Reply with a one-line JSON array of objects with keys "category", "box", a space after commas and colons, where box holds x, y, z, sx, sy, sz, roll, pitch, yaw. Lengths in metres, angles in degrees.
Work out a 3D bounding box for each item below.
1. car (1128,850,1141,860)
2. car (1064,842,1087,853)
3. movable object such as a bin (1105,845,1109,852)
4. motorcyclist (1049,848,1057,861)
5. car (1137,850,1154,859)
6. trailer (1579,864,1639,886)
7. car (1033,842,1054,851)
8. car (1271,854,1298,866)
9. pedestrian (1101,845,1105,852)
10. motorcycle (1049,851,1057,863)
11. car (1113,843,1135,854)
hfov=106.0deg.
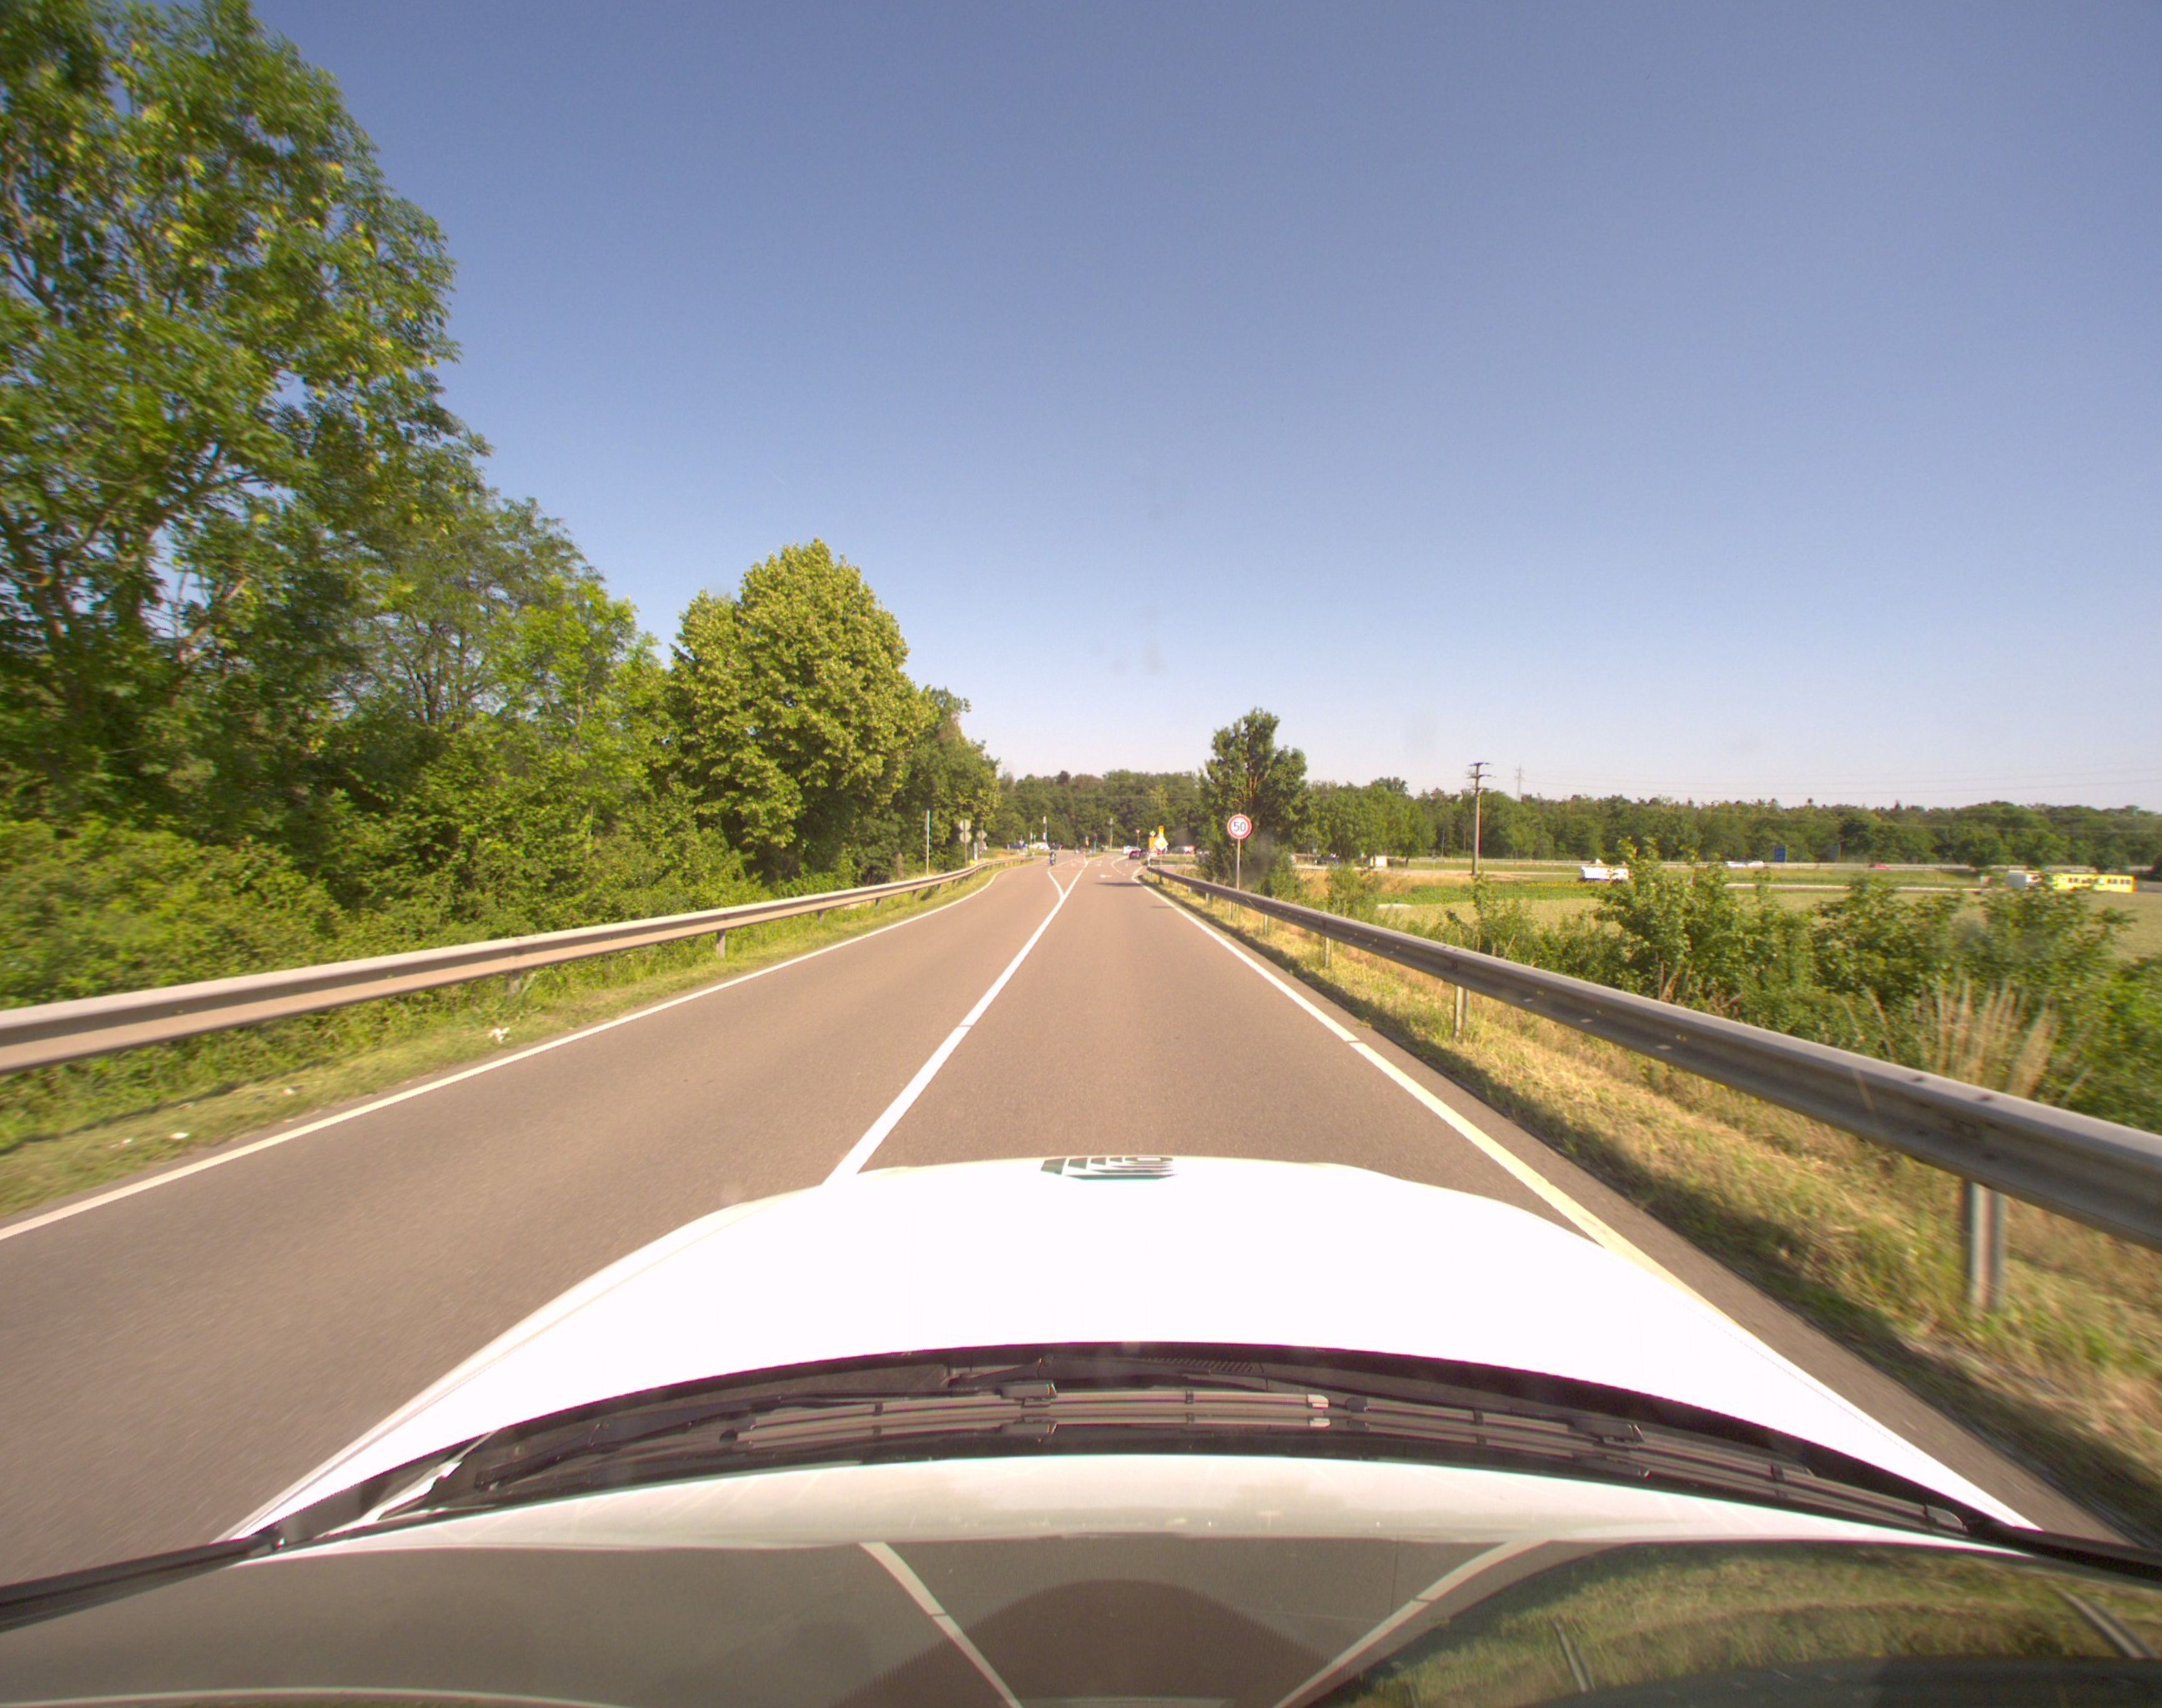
[{"category": "car", "box": [8.447, 0.171, 128.549, 1.789, 1.398, 4.009, -3, 0, 7]}, {"category": "car", "box": [-1.018, -1.237, 150.601, 3.983, 2.013, 1.797, 0, 1, -7]}, {"category": "movable object such as a bin", "box": [5.337, -1.140, 167.330, 0.598, 1.488, 0.734, -1, 0, 9]}, {"category": "motorcyclist", "box": [-2.993, 0.085, 87.160, 0.696, 1.408, 0.785, -1, 0, 2]}, {"category": "car", "box": [10.827, 0.025, 136.056, 1.785, 1.501, 4.019, 2, 1, 19]}, {"category": "trailer", "box": [76.313, 3.002, 117.890, 6.731, 2.670, 2.907, 2, 1, 17]}, {"category": "car", "box": [-7.978, -1.597, 173.833, 4.000, 2.013, 1.784, -1, 0, -20]}, {"category": "car", "box": [34.711, 1.008, 139.059, 3.950, 1.876, 1.903, 4, 1, 41]}, {"category": "pedestrian", "box": [4.470, -1.156, 166.642, 0.518, 1.390, 0.517, -1, 0, 33]}, {"category": "motorcycle", "box": [-3.002, 0.300, 87.121, 0.714, 1.250, 2.079, -1, 0, 2]}, {"category": "car", "box": [7.892, -1.063, 150.341, 3.977, 2.013, 1.799, 1, 1, -3]}]
